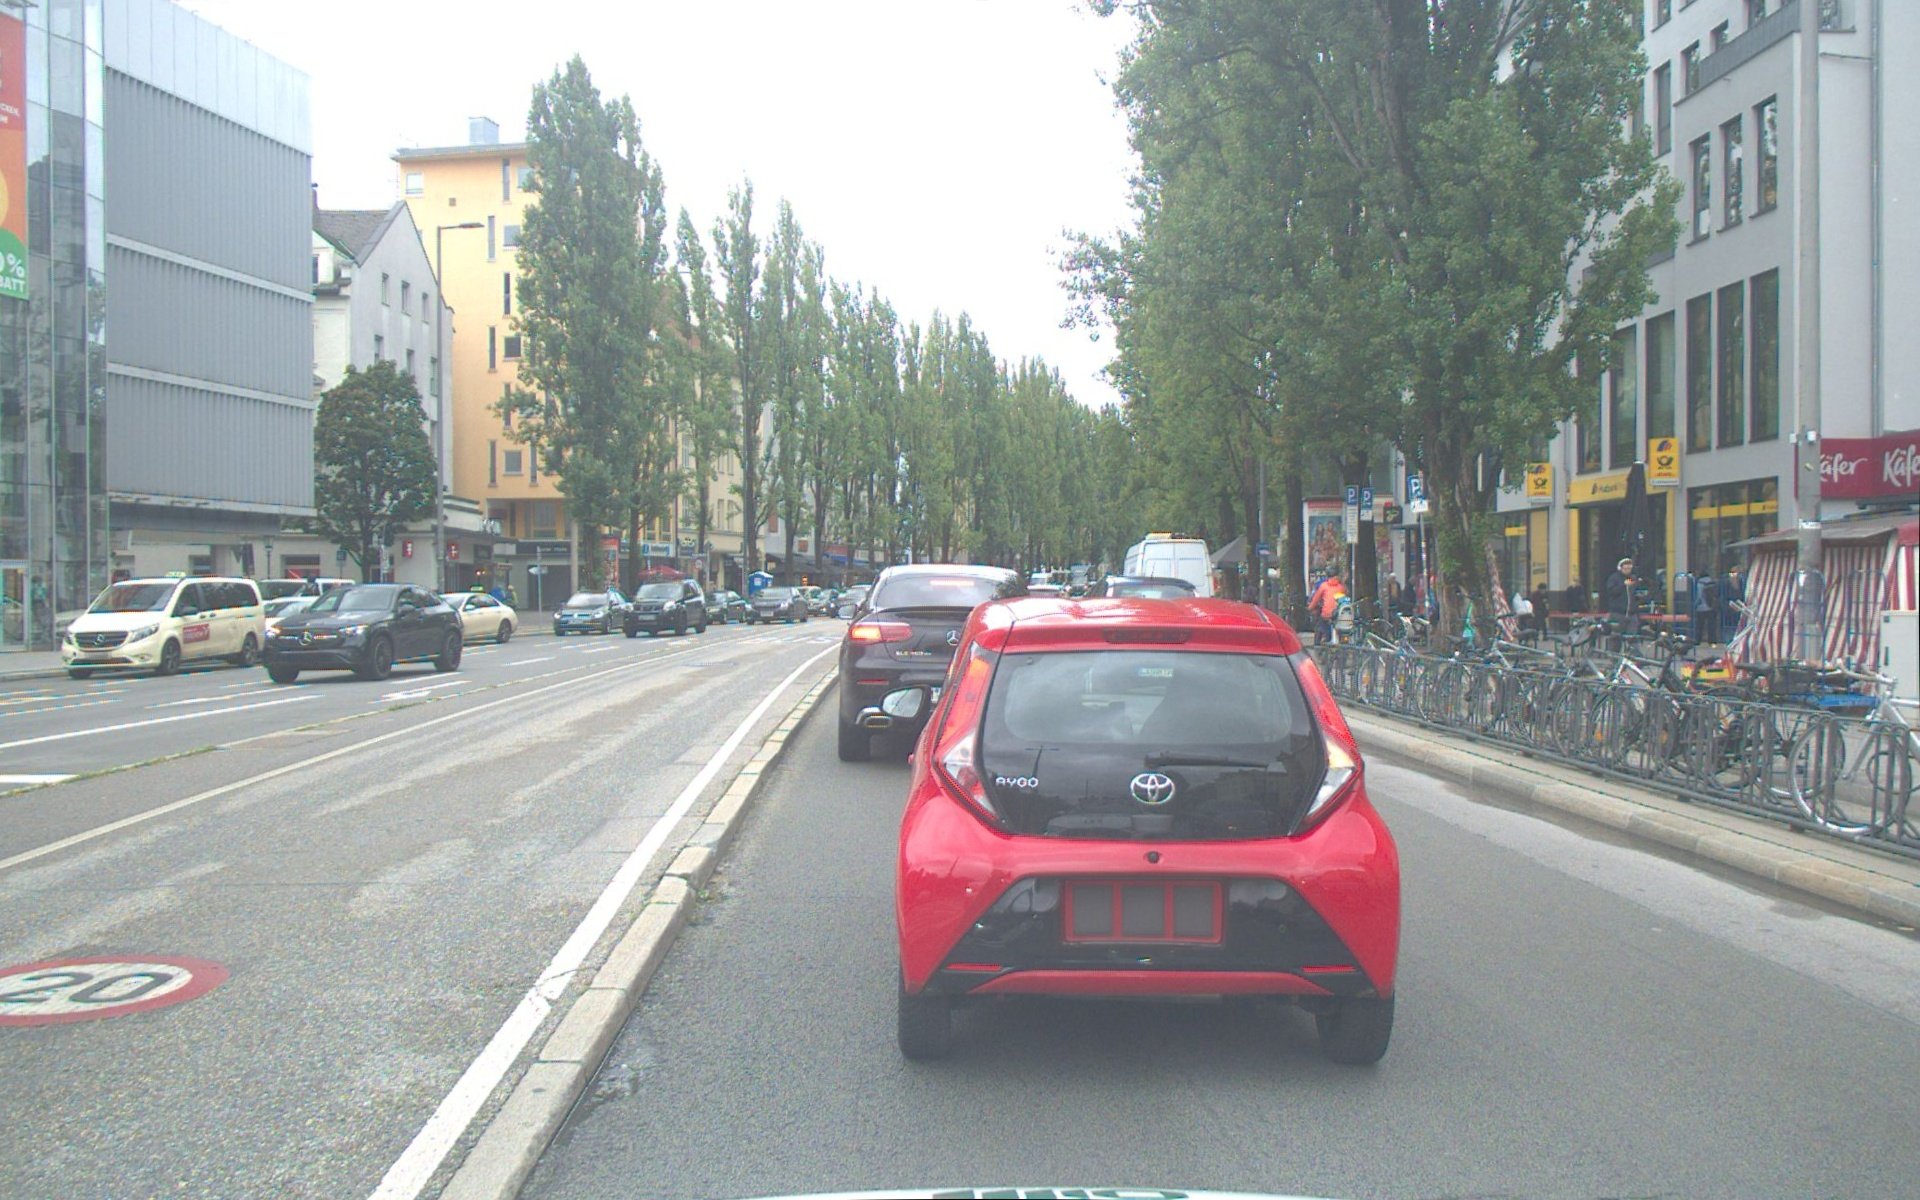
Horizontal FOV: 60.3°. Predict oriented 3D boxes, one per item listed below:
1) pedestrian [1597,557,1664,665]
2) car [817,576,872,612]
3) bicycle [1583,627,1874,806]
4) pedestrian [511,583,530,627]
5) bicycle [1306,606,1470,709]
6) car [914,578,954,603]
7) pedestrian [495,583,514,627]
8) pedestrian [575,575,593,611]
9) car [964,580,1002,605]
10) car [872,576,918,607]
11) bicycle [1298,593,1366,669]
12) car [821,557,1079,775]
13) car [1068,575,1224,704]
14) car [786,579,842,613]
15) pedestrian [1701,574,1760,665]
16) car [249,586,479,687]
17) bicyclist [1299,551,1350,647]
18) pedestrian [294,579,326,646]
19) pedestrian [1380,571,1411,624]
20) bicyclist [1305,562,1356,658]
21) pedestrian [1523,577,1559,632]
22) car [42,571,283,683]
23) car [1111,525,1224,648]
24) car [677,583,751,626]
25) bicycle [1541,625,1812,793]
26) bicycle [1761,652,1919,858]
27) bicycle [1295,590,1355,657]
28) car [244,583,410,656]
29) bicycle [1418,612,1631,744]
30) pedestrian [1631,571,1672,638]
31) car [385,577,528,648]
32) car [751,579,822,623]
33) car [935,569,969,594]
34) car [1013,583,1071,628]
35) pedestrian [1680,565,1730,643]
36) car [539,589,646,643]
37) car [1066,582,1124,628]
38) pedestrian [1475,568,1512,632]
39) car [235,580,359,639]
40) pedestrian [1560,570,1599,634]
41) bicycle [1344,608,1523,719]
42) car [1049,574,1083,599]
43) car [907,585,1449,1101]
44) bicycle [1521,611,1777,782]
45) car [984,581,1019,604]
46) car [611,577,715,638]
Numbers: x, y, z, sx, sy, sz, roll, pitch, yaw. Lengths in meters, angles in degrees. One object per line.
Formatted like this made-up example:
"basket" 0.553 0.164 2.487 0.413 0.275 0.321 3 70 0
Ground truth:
"pedestrian" 11.112 0.178 27.410 0.774 1.758 0.763 -1 0 -2
"car" -5.762 -0.309 82.852 1.951 1.721 4.924 -1 1 5
"bicycle" 5.456 0.788 11.815 1.805 1.156 0.583 0 1 41
"pedestrian" -20.279 0.237 76.379 0.673 2.032 0.765 0 0 -2
"bicycle" 5.080 0.661 19.690 1.800 1.156 0.584 0 1 35
"car" -1.817 -0.708 118.275 1.951 1.721 4.418 -1 1 11
"pedestrian" -21.011 0.216 76.282 0.673 2.032 0.765 0 0 -2
"pedestrian" -19.657 -0.359 86.511 0.673 1.842 0.766 -1 0 10
"car" 1.683 -0.576 118.906 1.951 1.721 4.418 -1 1 11
"car" -3.663 -0.511 93.727 1.951 1.721 4.924 0 1 5
"bicycle" 6.669 0.526 29.748 0.601 1.287 2.519 -1 1 -1
"car" -0.141 0.478 14.617 1.953 1.646 3.999 -1 1 -2
"car" 2.518 0.486 23.100 1.668 1.617 3.555 -1 1 -1
"car" -7.779 -0.254 88.482 1.951 1.721 4.925 -1 1 7
"pedestrian" 13.992 0.341 30.049 0.718 1.630 0.741 -1 0 -2
"car" -10.145 0.566 28.570 1.951 1.561 4.591 -1 1 5
"bicyclist" 7.394 -0.020 33.574 0.747 1.902 1.132 -1 1 -1
"pedestrian" -17.997 0.338 45.792 0.545 1.849 0.628 0 0 9
"pedestrian" 13.287 -0.078 50.508 0.748 1.621 0.676 -1 0 -2
"bicyclist" 6.650 0.165 29.735 0.601 1.686 1.251 -1 1 -1
"pedestrian" 14.228 0.112 40.529 0.625 1.328 0.676 -1 0 -2
"car" -15.828 0.471 33.245 1.952 2.049 5.525 -1 1 3
"car" 4.950 -0.340 40.046 2.064 2.766 4.803 -1 1 -1
"car" -10.420 0.161 70.376 1.951 1.721 4.924 -1 1 5
"bicycle" 5.418 0.787 12.576 1.805 1.156 0.583 0 1 41
"bicycle" 5.447 0.855 9.083 1.805 1.070 0.583 0 1 41
"bicycle" 7.383 0.454 33.553 0.601 1.287 2.519 -1 1 -1
"car" -15.477 0.434 40.723 1.951 1.684 4.536 1 0 6
"bicycle" 5.274 0.703 15.498 1.800 1.156 0.584 0 1 35
"pedestrian" 16.613 0.102 39.754 0.699 1.585 0.676 -1 0 -2
"car" -14.165 0.302 46.826 1.951 1.847 4.537 -1 1 10
"car" -7.078 0.022 67.978 1.951 1.721 4.924 -1 1 5
"car" -0.653 -1.528 136.297 1.951 1.967 4.418 0 1 11
"car" 2.731 0.169 55.558 1.665 1.451 3.496 -1 1 -2
"pedestrian" 15.797 0.087 35.076 0.718 1.630 0.741 -1 0 -2
"car" -12.109 0.486 54.799 1.951 1.637 4.537 -1 1 9
"car" 4.700 0.142 58.102 1.668 1.556 3.555 0 1 -1
"pedestrian" 13.435 -0.013 41.655 0.699 1.585 0.676 -1 0 -2
"car" -21.260 0.279 53.232 1.830 1.803 4.245 -1 1 7
"pedestrian" 15.565 0.056 41.581 0.699 1.585 0.676 -1 0 -2
"bicycle" 5.205 0.678 18.226 1.800 1.156 0.584 0 1 35
"car" 6.386 -0.847 99.239 1.735 1.464 3.942 0 1 8
"car" 0.623 0.700 6.401 1.572 1.487 3.130 1 1 -1
"bicycle" 5.490 0.730 13.244 1.805 1.263 0.583 0 1 41
"car" 3.214 -0.581 126.232 1.951 1.721 4.418 -1 1 11
"car" -8.981 0.177 50.472 1.952 1.721 4.924 -1 1 4
